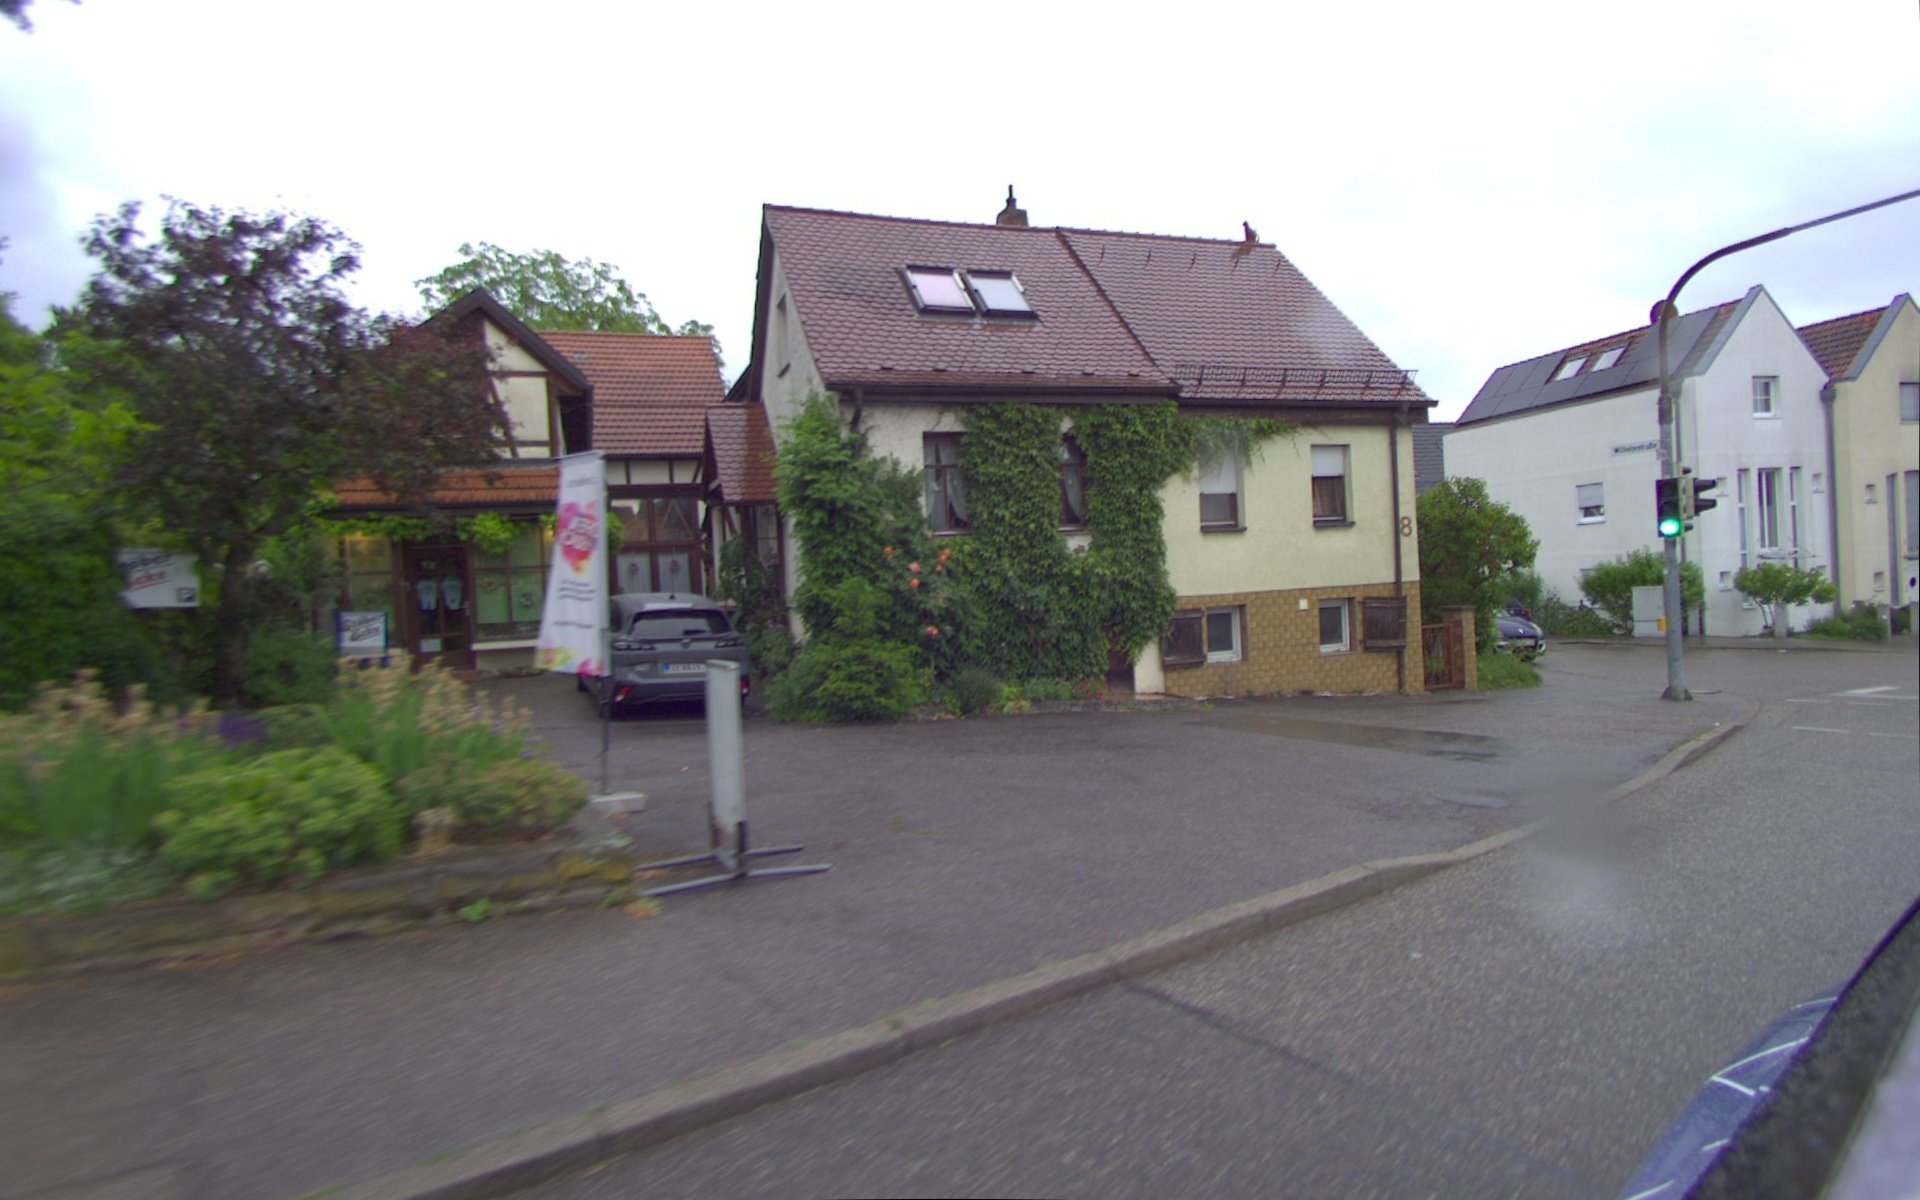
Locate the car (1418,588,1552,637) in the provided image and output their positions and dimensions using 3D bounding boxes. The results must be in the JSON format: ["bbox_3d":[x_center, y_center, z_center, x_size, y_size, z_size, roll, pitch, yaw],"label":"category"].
[{"bbox_3d":[16.613,0.372,32.256,1.766,1.424,3.741,-2,0,-12],"label":"car"}]

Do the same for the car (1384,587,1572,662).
[{"bbox_3d":[12.502,0.525,24.744,1.826,1.605,4.153,-2,1,-12],"label":"car"}]

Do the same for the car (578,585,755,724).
[{"bbox_3d":[-3.998,0.577,13.320,1.641,1.477,4.119,0,1,-25],"label":"car"}]
